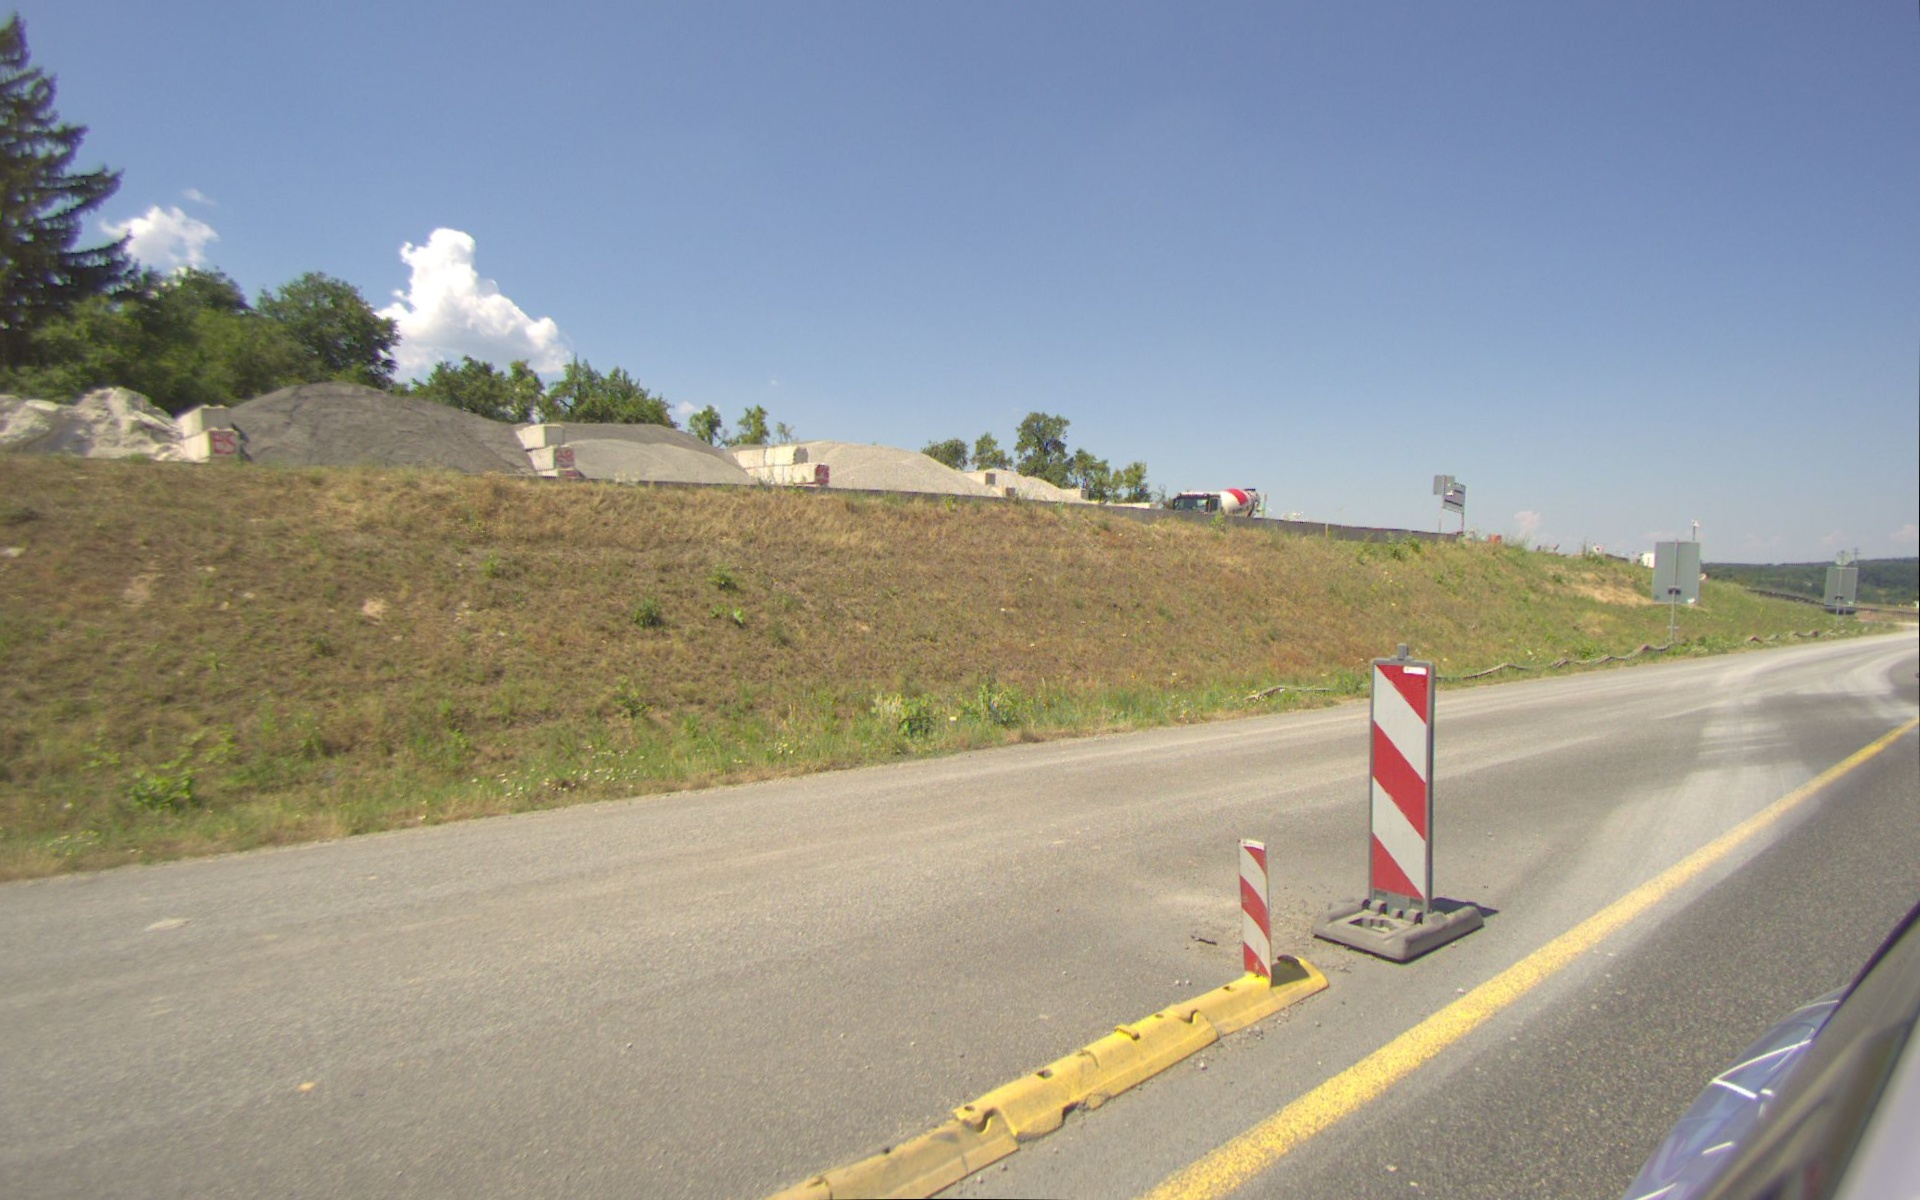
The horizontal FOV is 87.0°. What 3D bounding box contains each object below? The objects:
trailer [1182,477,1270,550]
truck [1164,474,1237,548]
[{"bbox_3d":[16.974,-5.363,64.232,2.753,4.166,6.646,1,1,40],"label":"trailer"},{"bbox_3d":[14.623,-5.328,61.430,2.742,4.147,4.040,1,1,41],"label":"truck"}]
